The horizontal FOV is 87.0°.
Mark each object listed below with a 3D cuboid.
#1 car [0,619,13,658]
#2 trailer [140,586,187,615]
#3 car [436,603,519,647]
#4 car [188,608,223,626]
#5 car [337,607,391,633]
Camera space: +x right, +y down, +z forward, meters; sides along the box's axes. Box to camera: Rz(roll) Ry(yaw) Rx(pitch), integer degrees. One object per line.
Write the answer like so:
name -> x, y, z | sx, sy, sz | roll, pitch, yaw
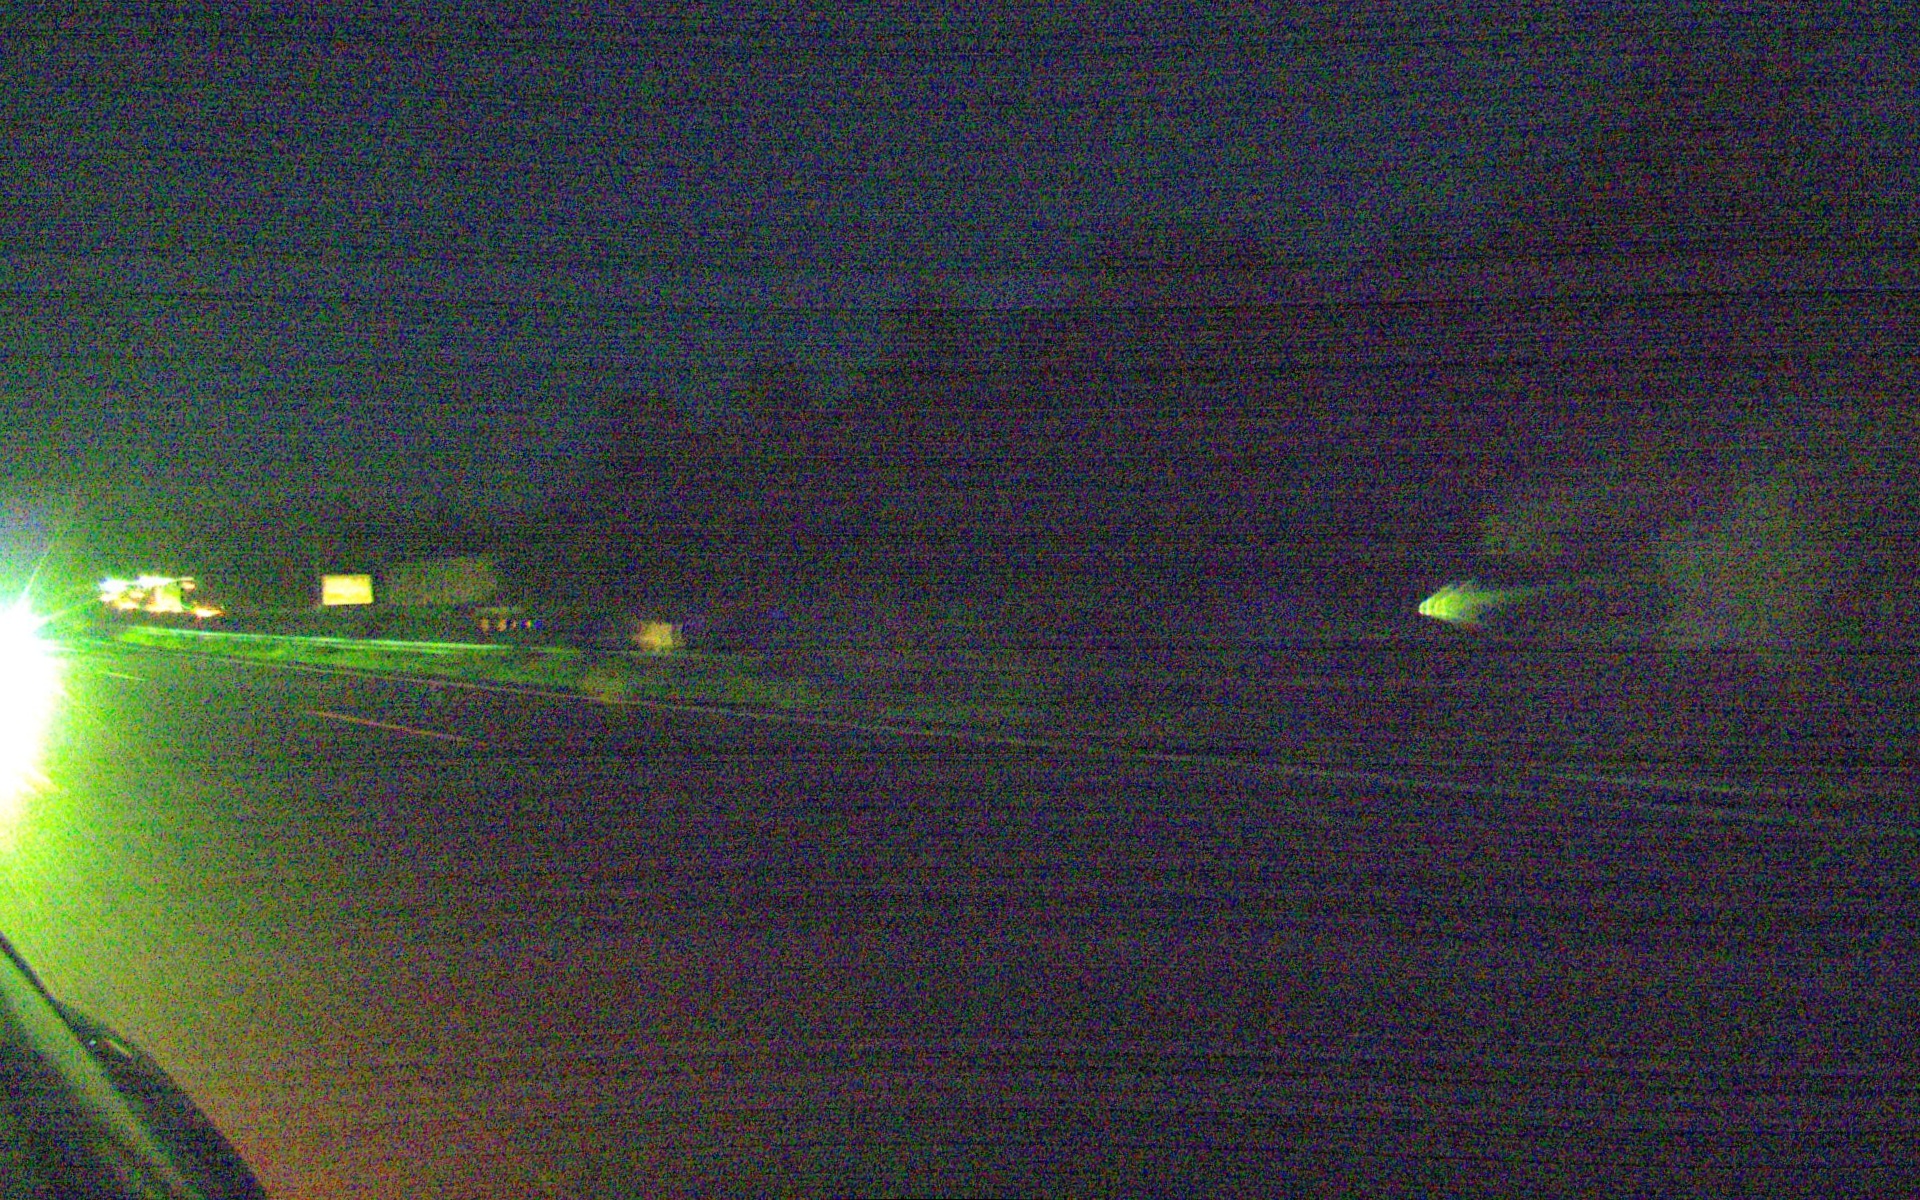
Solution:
car -> -36.789, 1.465, 37.887 | 1.807, 1.423, 4.002 | -2, 0, -45
trailer -> -117.192, 0.127, 148.789 | 14.129, 4.121, 3.559 | 0, 0, 44
car -> -21.948, 1.119, 45.983 | 4.074, 1.868, 1.973 | -1, -1, 41
car -> -83.916, 1.893, 112.510 | 4.513, 1.890, 2.371 | -1, -1, 43
car -> -41.000, 1.393, 69.591 | 4.074, 1.739, 1.973 | -1, -1, 41
